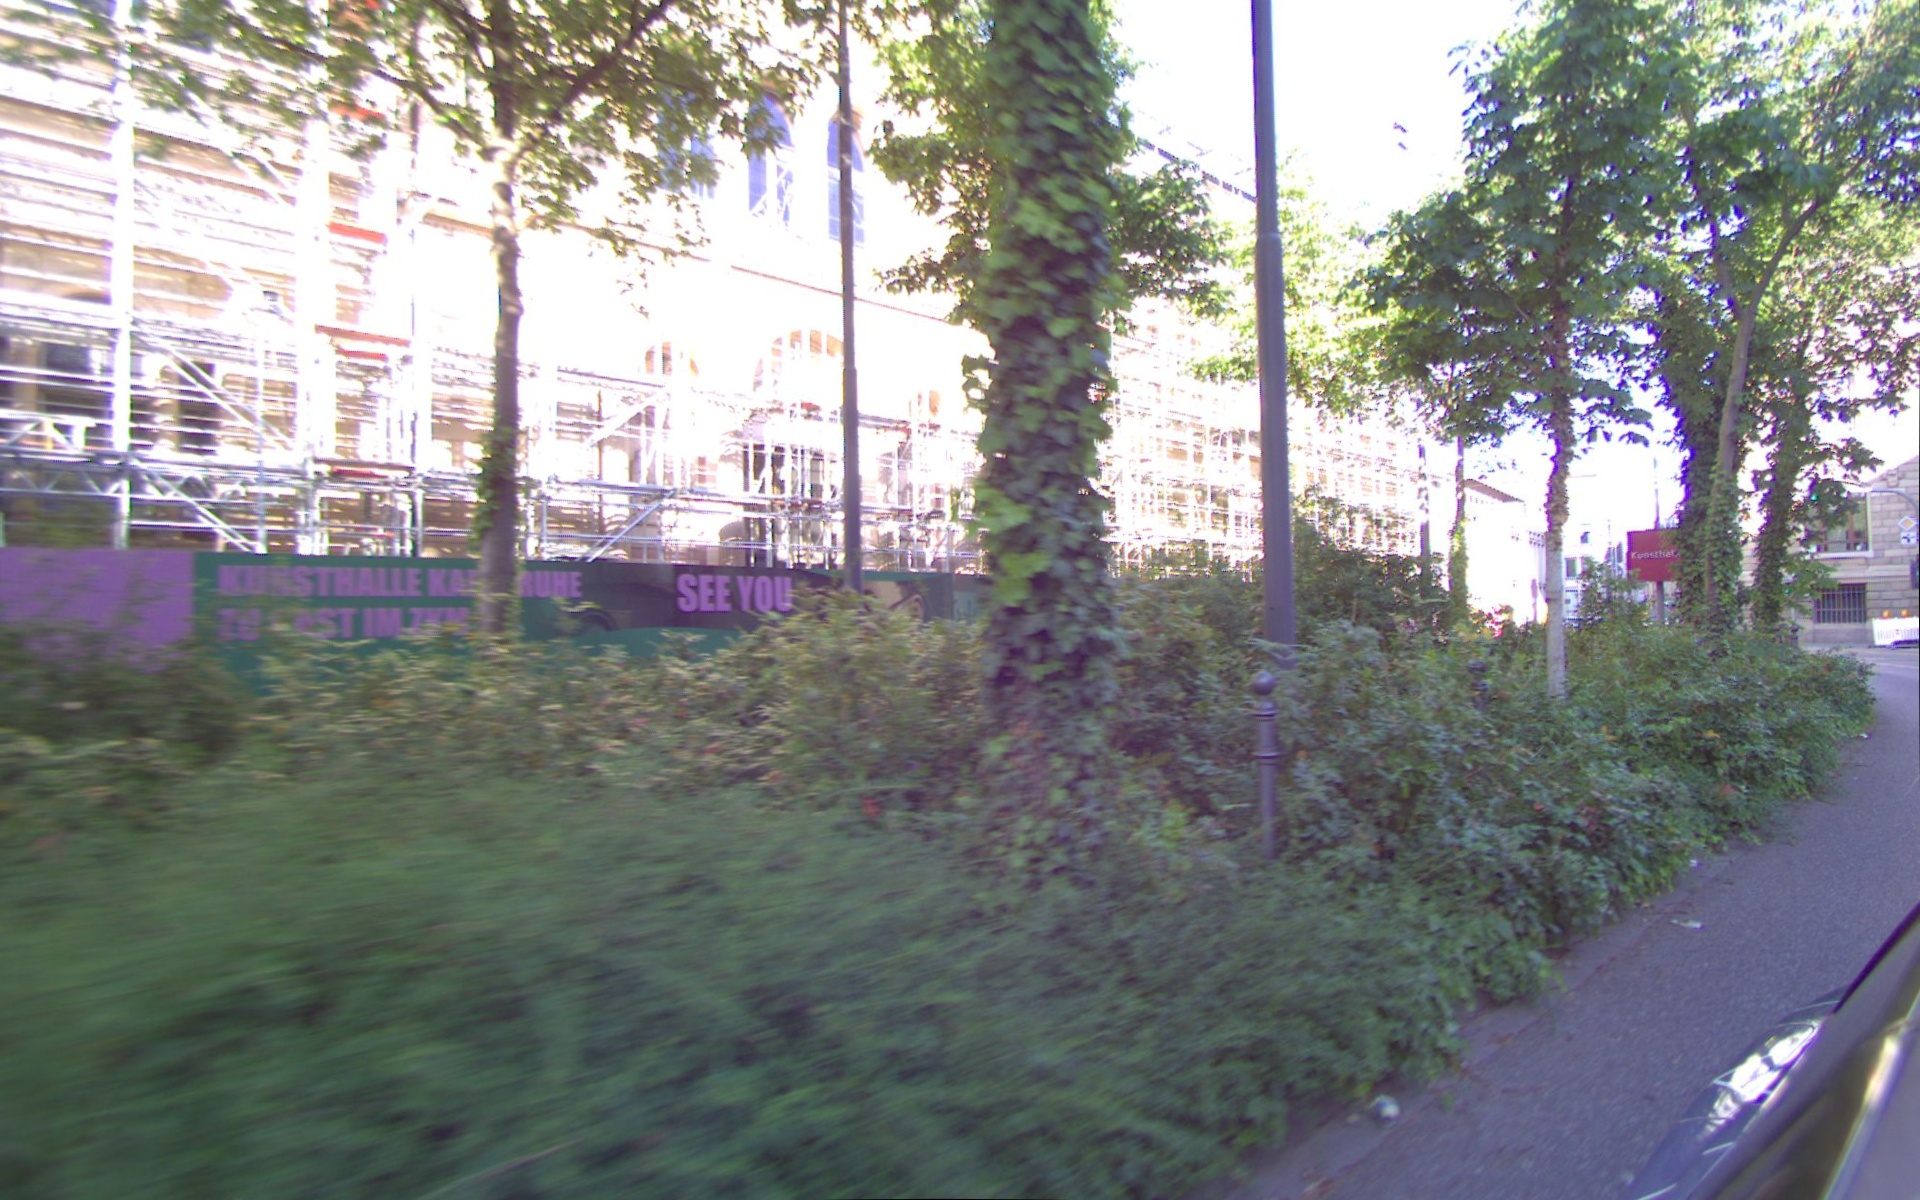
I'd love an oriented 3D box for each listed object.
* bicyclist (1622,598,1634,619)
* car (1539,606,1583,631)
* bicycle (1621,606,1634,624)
[{"bbox_3d":[41.769,0.542,63.316,0.535,1.305,0.544,-4,-3,38],"label":"bicyclist"},{"bbox_3d":[42.170,1.305,70.948,1.891,1.645,4.554,-4,-2,40],"label":"car"},{"bbox_3d":[41.708,0.943,63.202,0.532,1.080,1.406,-4,-3,37],"label":"bicycle"}]
